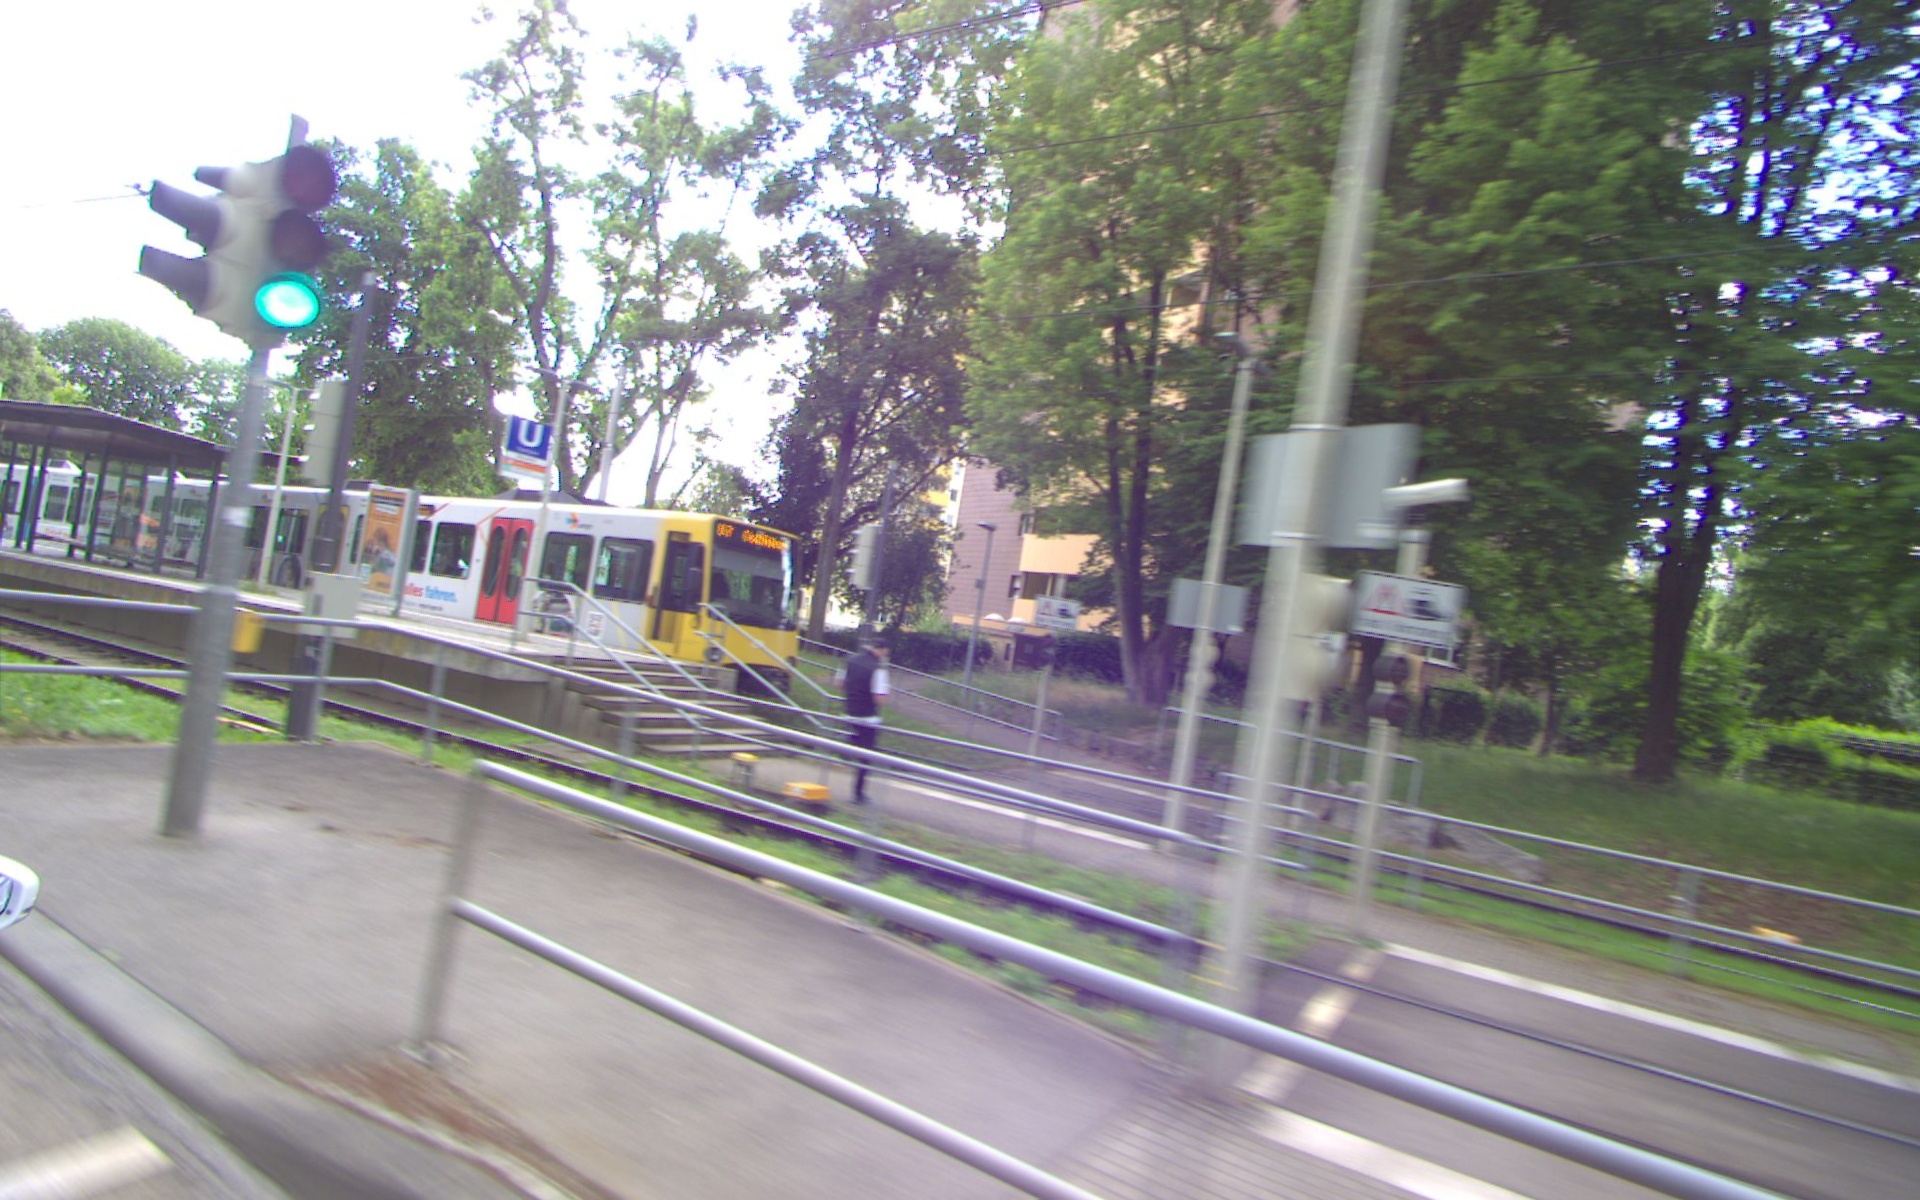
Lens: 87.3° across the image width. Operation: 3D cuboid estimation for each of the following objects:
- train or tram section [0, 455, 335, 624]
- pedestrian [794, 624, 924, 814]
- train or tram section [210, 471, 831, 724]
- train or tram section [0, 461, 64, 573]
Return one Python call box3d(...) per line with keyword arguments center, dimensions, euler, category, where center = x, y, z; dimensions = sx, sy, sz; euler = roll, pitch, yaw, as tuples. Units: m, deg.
box3d(center=(-26.836, -2.257, 32.166), dimensions=(18.612, 3.840, 2.822), euler=(6, -3, 30), category="train or tram section")
box3d(center=(-1.024, 1.226, 10.452), dimensions=(0.716, 1.777, 0.988), euler=(8, -2, 23), category="pedestrian")
box3d(center=(-11.004, -0.545, 22.562), dimensions=(18.231, 3.777, 2.820), euler=(6, -3, 33), category="train or tram section")
box3d(center=(-43.210, -4.051, 40.820), dimensions=(19.167, 3.777, 2.824), euler=(7, -3, 26), category="train or tram section")
